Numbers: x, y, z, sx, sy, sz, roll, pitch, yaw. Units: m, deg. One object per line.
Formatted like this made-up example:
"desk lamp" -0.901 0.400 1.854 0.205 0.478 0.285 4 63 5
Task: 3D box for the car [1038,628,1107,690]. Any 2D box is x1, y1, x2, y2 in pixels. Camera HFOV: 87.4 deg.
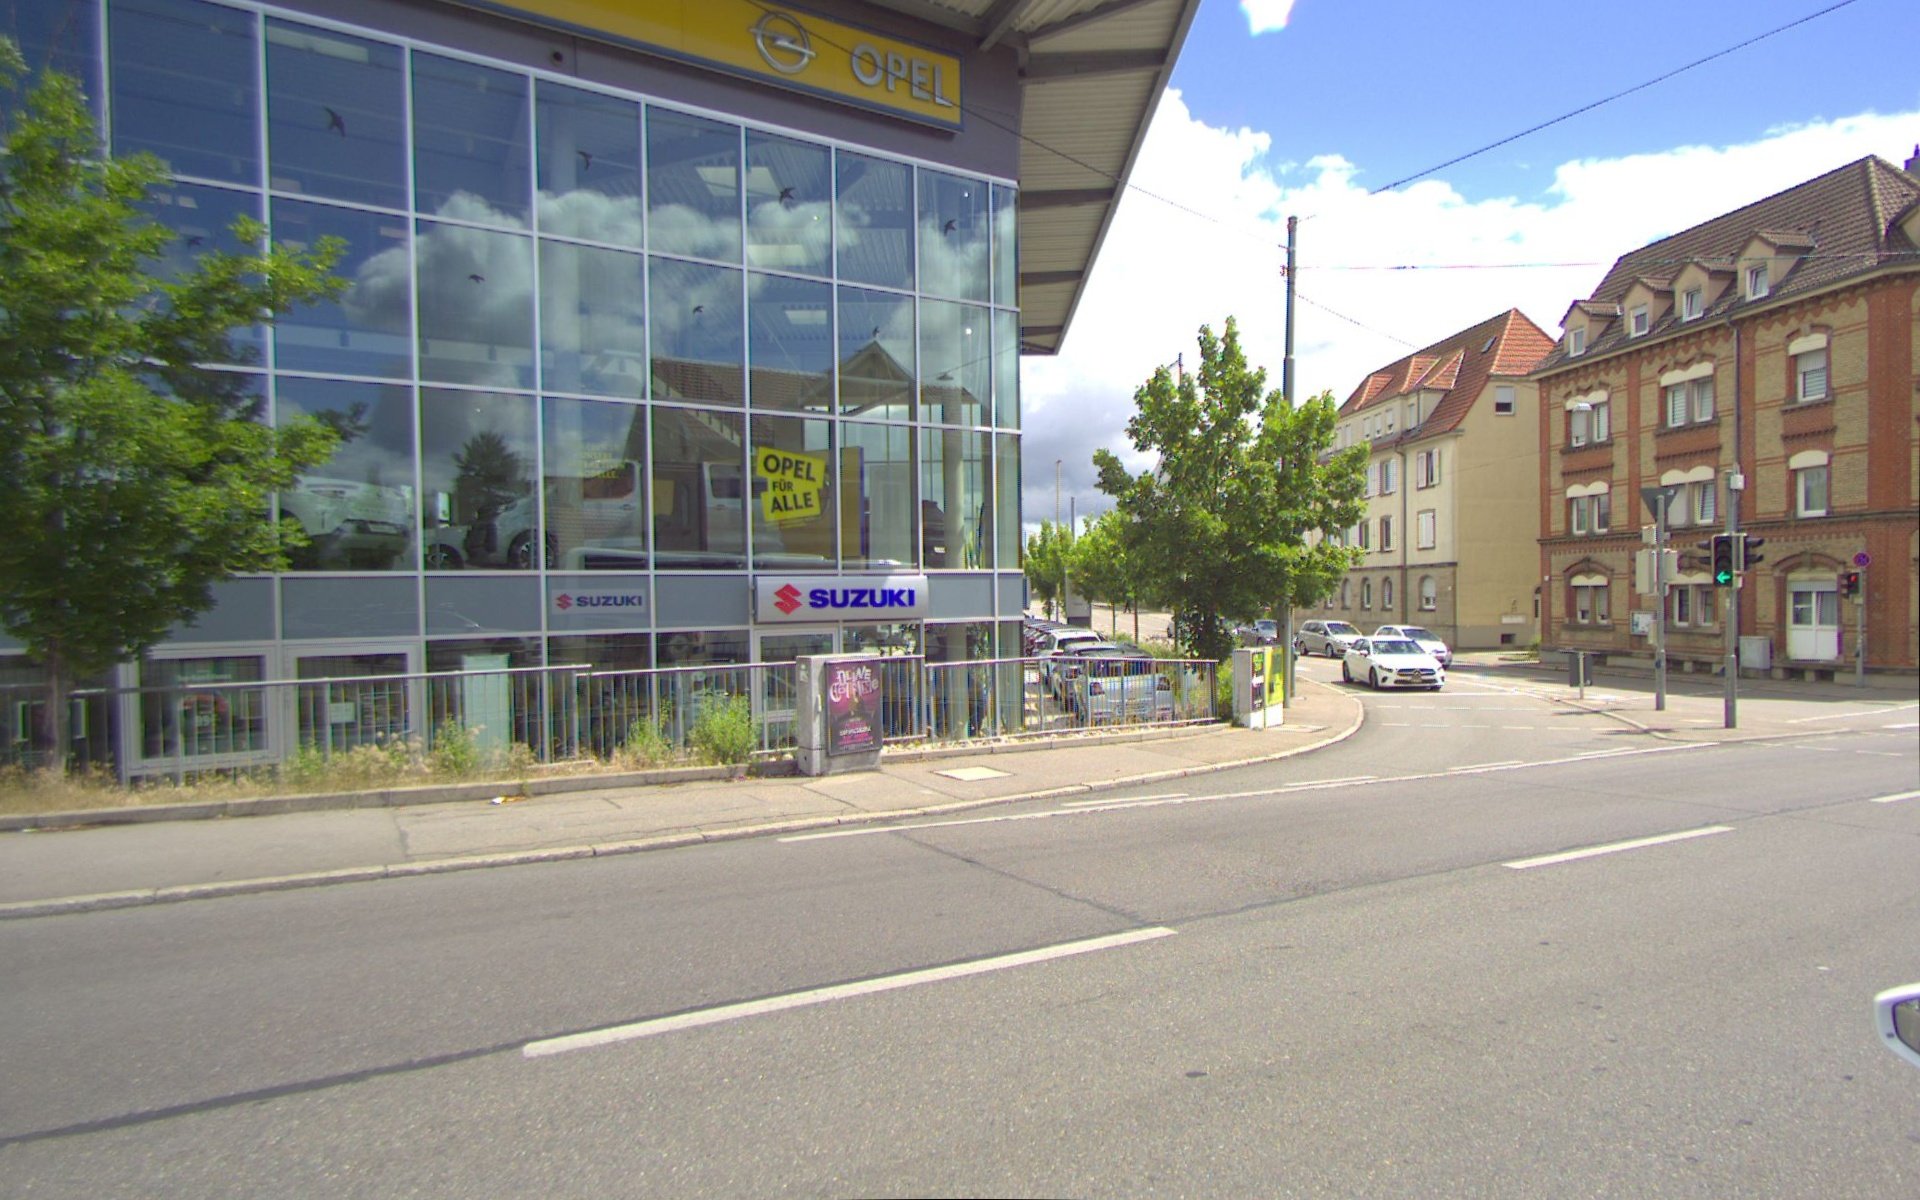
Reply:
"car" 3.187 1.643 29.024 1.487 1.596 3.414 1 -1 -2

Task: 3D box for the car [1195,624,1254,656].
"car" 14.743 2.212 56.248 1.961 1.607 4.345 1 0 -2

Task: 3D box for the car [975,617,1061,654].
"car" 2.562 1.591 45.799 1.974 1.599 4.476 1 -1 -26

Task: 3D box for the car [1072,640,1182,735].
"car" 3.299 1.700 20.482 1.720 1.596 3.687 2 -1 3

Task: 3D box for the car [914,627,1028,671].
"car" 0.417 1.782 37.177 3.919 1.478 1.605 1 0 15

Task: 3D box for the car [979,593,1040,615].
"car" 3.226 0.266 66.421 3.921 1.311 1.818 1 -1 0

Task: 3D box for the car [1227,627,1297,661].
"car" 15.249 2.201 50.945 1.963 1.539 3.996 1 -1 -7

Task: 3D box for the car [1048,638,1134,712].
"car" 3.136 1.765 24.630 1.487 1.543 3.792 1 -1 -2

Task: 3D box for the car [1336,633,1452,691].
"car" 12.276 1.703 28.701 1.825 1.466 4.394 1 -1 6

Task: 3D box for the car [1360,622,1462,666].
"car" 16.974 1.629 38.013 1.670 1.517 3.995 1 -1 -7

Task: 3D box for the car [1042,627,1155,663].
"car" 5.077 1.643 37.140 3.921 1.202 1.818 1 -1 0

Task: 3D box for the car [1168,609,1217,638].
"car" 14.633 1.469 63.513 1.908 1.743 3.998 1 -1 -4

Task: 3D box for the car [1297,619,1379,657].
"car" 16.649 1.661 44.438 1.715 1.539 3.996 1 -1 -7
